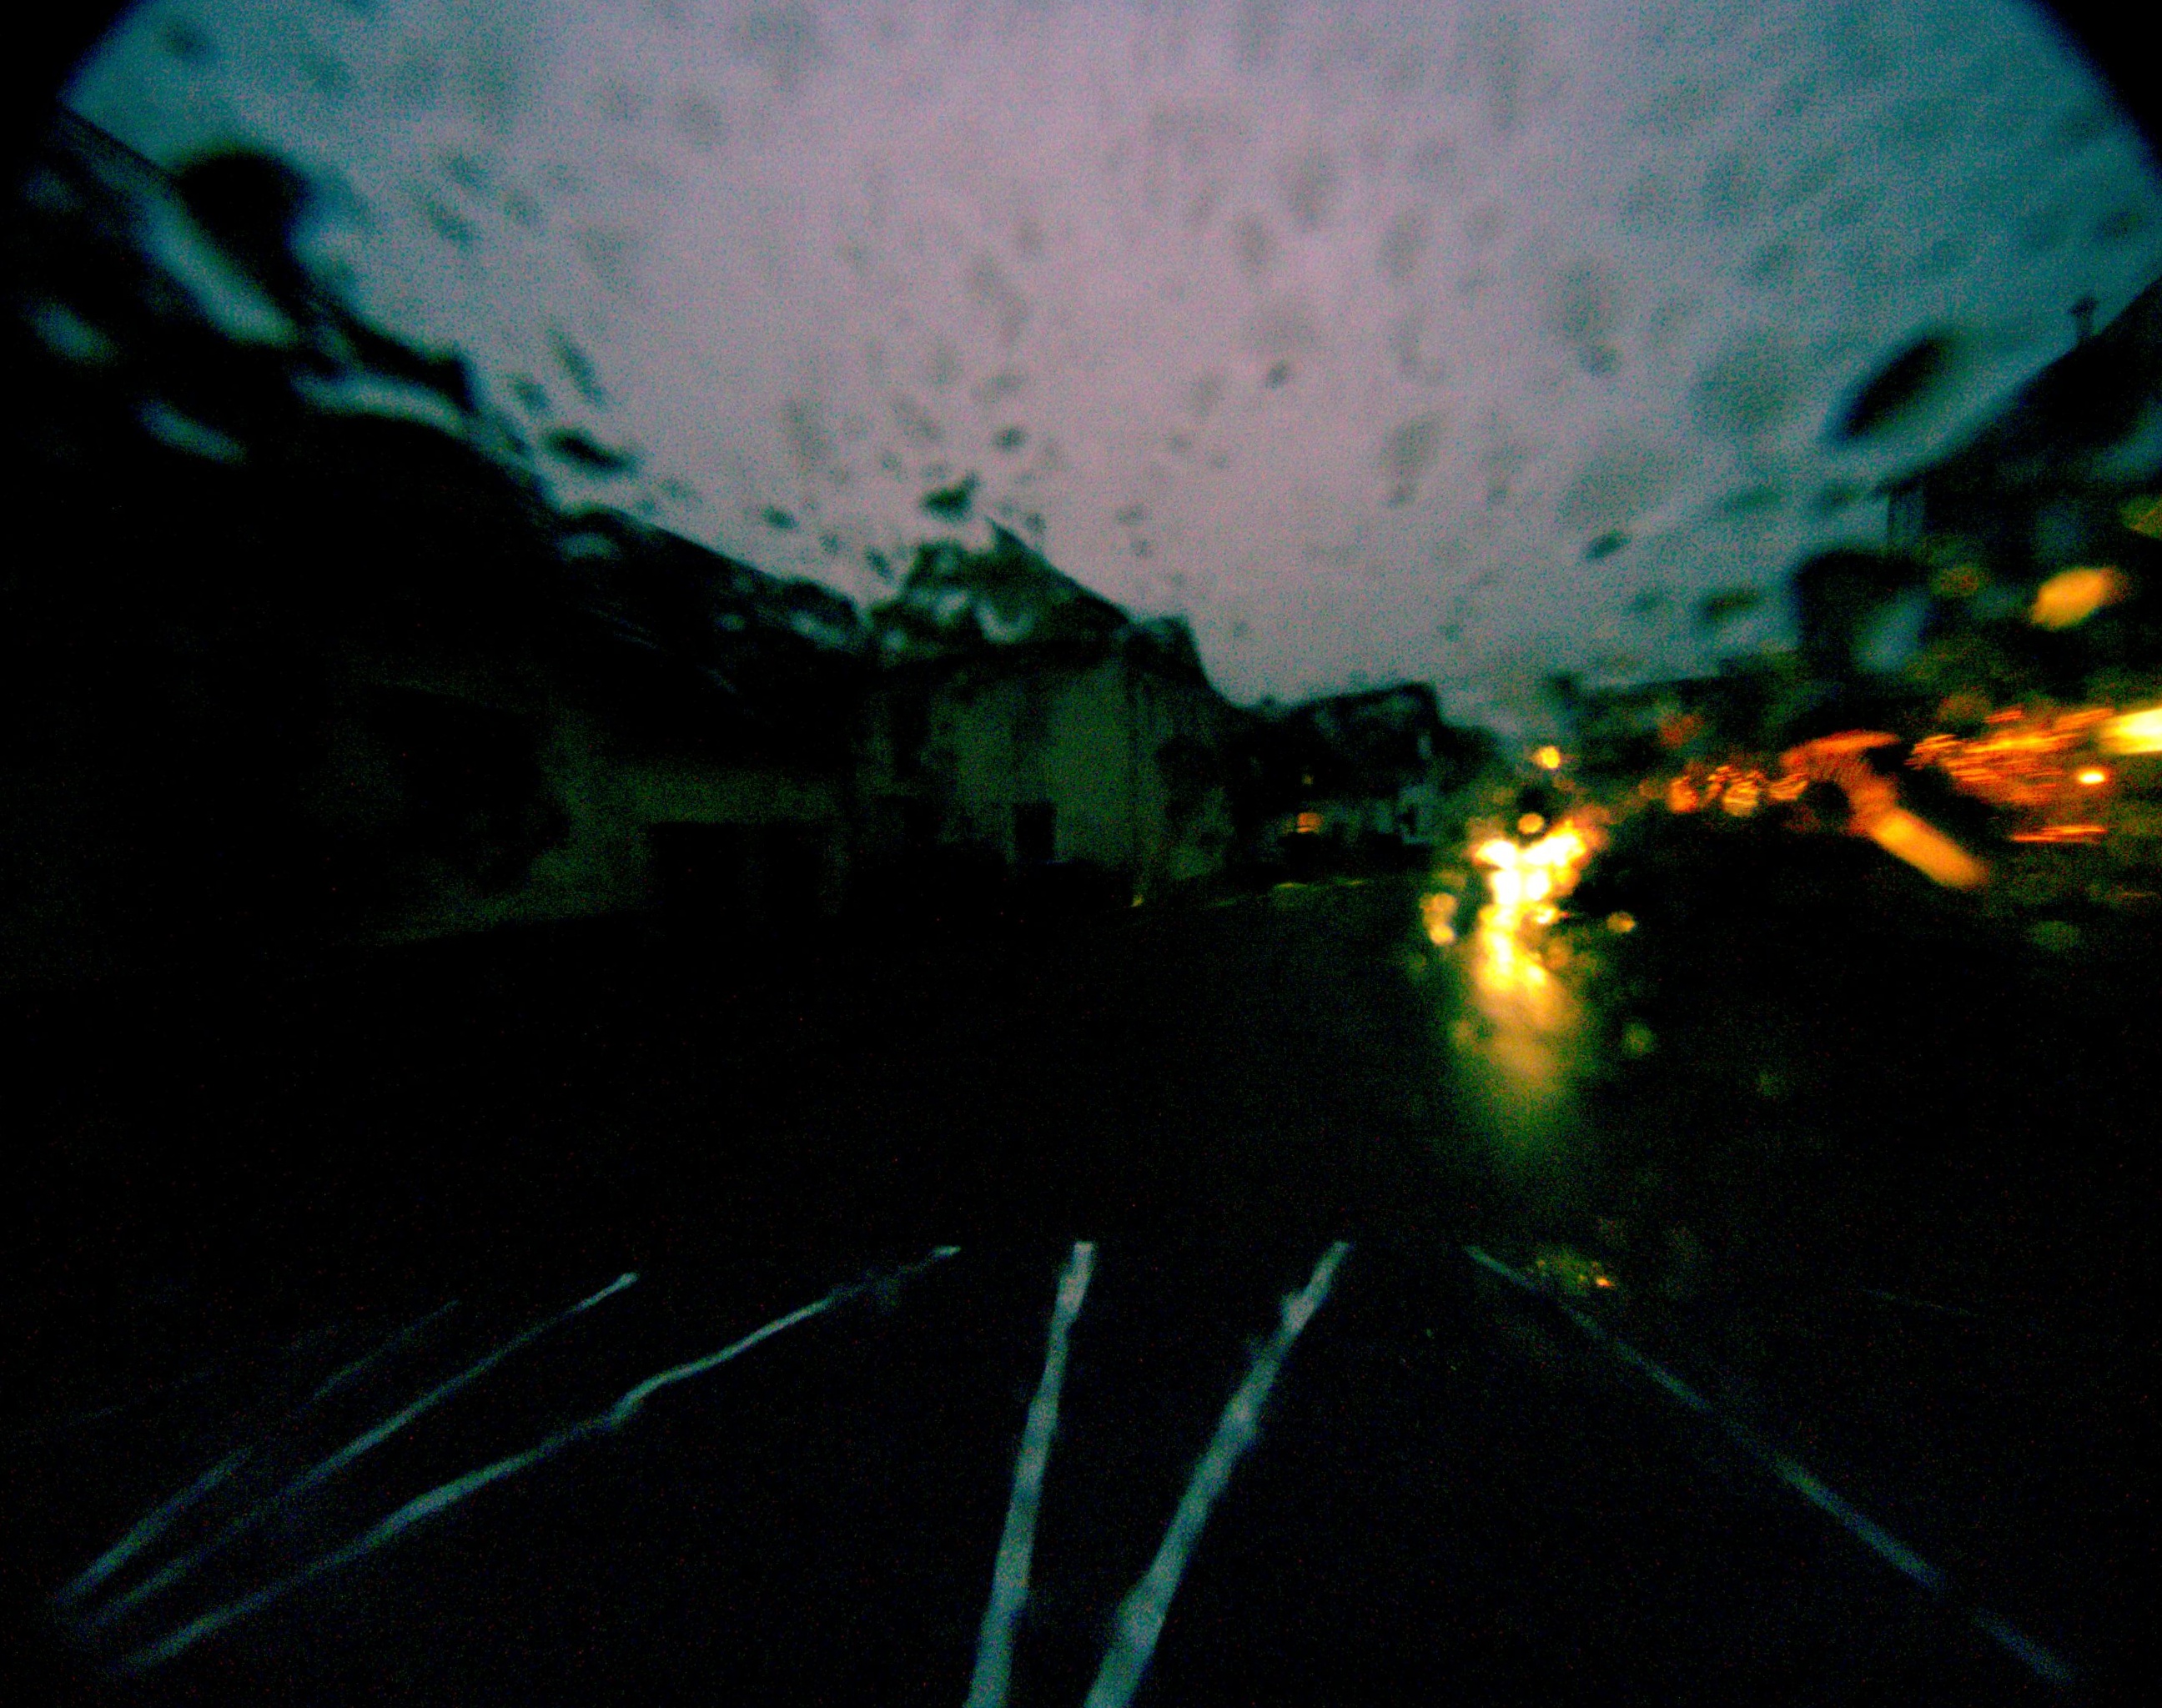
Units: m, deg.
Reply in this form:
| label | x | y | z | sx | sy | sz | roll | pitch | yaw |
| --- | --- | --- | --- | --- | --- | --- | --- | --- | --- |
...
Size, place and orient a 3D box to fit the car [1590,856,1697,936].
| label | x | y | z | sx | sy | sz | roll | pitch | yaw |
| --- | --- | --- | --- | --- | --- | --- | --- | --- | --- |
| car | 12.426 | 0.832 | 16.693 | 1.619 | 1.413 | 3.811 | -1 | 1 | 40 |

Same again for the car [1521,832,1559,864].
| label | x | y | z | sx | sy | sz | roll | pitch | yaw |
| --- | --- | --- | --- | --- | --- | --- | --- | --- | --- |
| car | 37.281 | -0.528 | 61.627 | 2.010 | 2.439 | 5.626 | -2 | 0 | 37 |

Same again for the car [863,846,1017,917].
| label | x | y | z | sx | sy | sz | roll | pitch | yaw |
| --- | --- | --- | --- | --- | --- | --- | --- | --- | --- |
| car | -3.530 | 0.619 | 18.991 | 3.481 | 1.497 | 1.652 | 3 | 2 | 29 |

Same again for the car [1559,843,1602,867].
| label | x | y | z | sx | sy | sz | roll | pitch | yaw |
| --- | --- | --- | --- | --- | --- | --- | --- | --- | --- |
| car | 35.189 | 0.082 | 53.481 | 1.987 | 1.549 | 4.244 | -1 | 1 | 40 |

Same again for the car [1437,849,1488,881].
| label | x | y | z | sx | sy | sz | roll | pitch | yaw |
| --- | --- | --- | --- | --- | --- | --- | --- | --- | --- |
| car | 19.806 | 0.538 | 39.351 | 1.639 | 1.485 | 4.008 | -2 | 0 | 37 |

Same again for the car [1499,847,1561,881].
| label | x | y | z | sx | sy | sz | roll | pitch | yaw |
| --- | --- | --- | --- | --- | --- | --- | --- | --- | --- |
| car | 22.502 | 0.459 | 37.993 | 1.987 | 1.549 | 4.244 | -1 | 1 | 39 |

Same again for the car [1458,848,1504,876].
| label | x | y | z | sx | sy | sz | roll | pitch | yaw |
| --- | --- | --- | --- | --- | --- | --- | --- | --- | --- |
| car | 22.809 | 0.437 | 43.279 | 1.639 | 1.463 | 4.008 | -2 | 0 | 37 |

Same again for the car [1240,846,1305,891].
| label | x | y | z | sx | sy | sz | roll | pitch | yaw |
| --- | --- | --- | --- | --- | --- | --- | --- | --- | --- |
| car | 7.792 | 0.523 | 30.578 | 1.808 | 1.479 | 4.284 | 2 | 3 | 24 |
